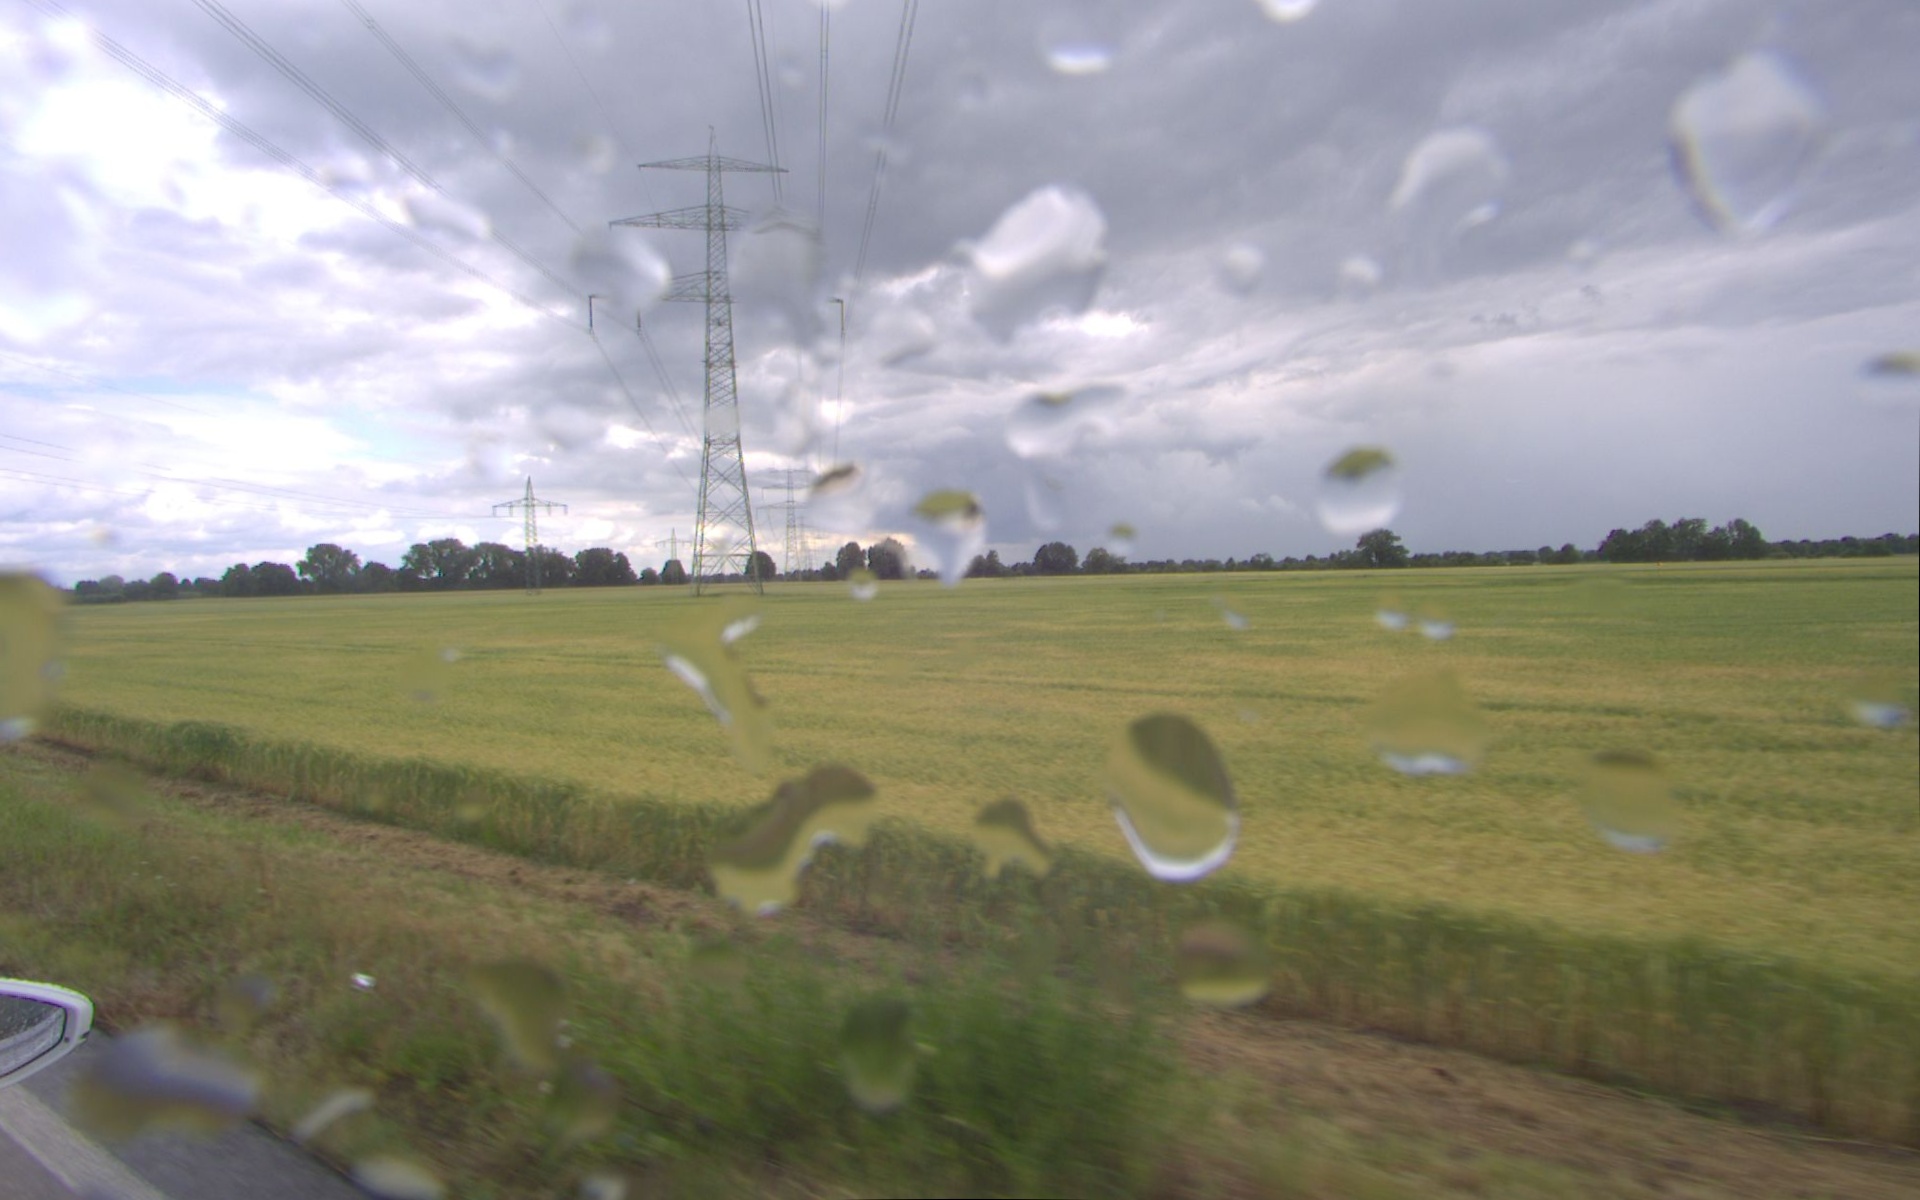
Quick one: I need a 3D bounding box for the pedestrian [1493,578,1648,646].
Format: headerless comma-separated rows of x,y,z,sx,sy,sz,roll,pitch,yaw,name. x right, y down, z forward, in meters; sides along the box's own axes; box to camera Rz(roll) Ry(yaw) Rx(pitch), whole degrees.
19.690,0.445,32.492,3.932,2.039,1.996,-2,-2,21,pedestrian
